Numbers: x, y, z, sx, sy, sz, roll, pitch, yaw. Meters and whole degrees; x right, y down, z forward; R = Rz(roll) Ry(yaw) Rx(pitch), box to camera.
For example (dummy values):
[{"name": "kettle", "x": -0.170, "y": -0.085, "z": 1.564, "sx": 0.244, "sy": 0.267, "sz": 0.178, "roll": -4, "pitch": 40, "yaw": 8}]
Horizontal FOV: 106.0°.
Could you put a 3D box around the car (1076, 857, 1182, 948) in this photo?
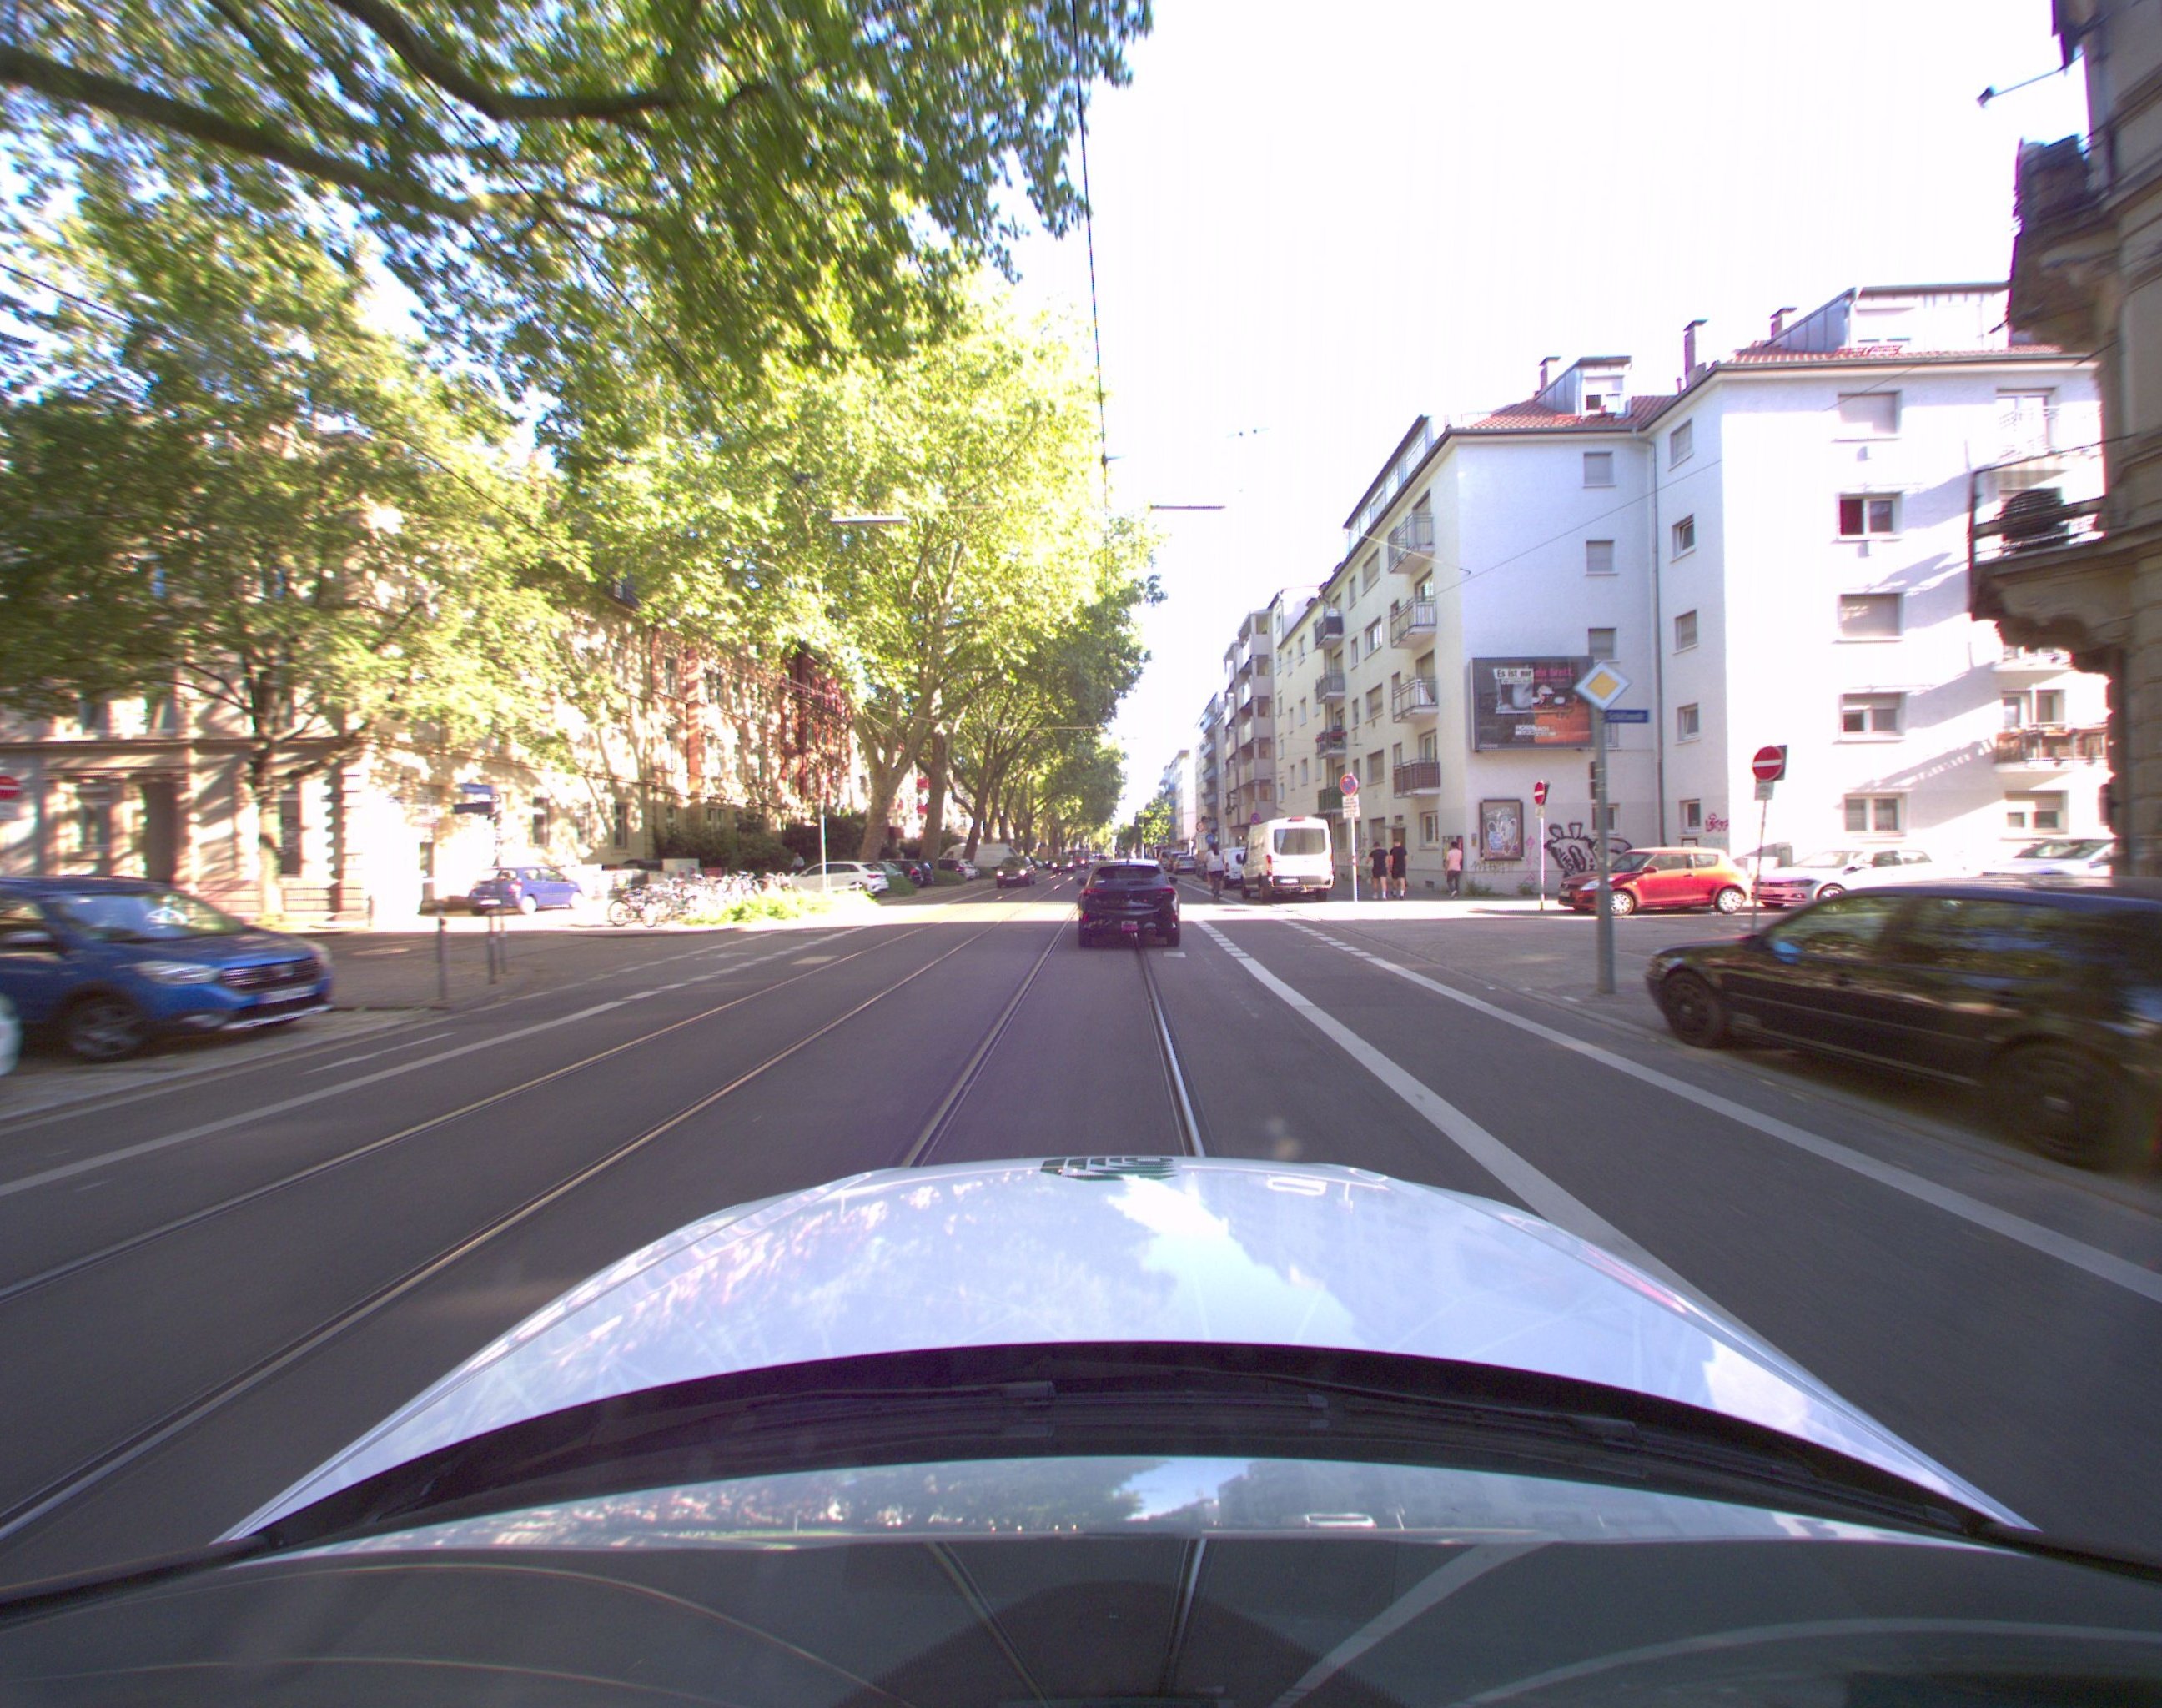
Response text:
[{"name": "car", "x": 0.823, "y": 0.779, "z": 14.736, "sx": 1.673, "sy": 1.422, "sz": 3.629, "roll": 0, "pitch": 0, "yaw": 2}]

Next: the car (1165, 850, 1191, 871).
[{"name": "car", "x": 8.130, "y": 0.515, "z": 68.512, "sx": 1.760, "sy": 1.705, "sz": 4.284, "roll": -1, "pitch": 0, "yaw": 1}]

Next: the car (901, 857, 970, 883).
[{"name": "car", "x": -8.686, "y": 0.947, "z": 48.787, "sx": 3.778, "sy": 1.460, "sz": 1.705, "roll": 0, "pitch": 0, "yaw": 2}]

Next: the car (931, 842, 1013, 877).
[{"name": "car", "x": -8.125, "y": 0.384, "z": 60.891, "sx": 5.718, "sy": 2.536, "sz": 2.164, "roll": -1, "pitch": 0, "yaw": 2}]

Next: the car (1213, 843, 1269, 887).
[{"name": "car", "x": 7.163, "y": 0.484, "z": 36.793, "sx": 1.851, "sy": 1.820, "sz": 4.354, "roll": -1, "pitch": 0, "yaw": 3}]

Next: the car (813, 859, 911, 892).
[{"name": "car", "x": -9.957, "y": 0.978, "z": 37.192, "sx": 3.969, "sy": 1.369, "sz": 1.607, "roll": -1, "pitch": 0, "yaw": 3}]

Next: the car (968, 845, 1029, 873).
[{"name": "car", "x": -7.629, "y": 0.486, "z": 75.565, "sx": 5.339, "sy": 2.477, "sz": 2.058, "roll": -1, "pitch": 0, "yaw": 2}]

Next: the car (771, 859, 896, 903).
[{"name": "car", "x": -9.085, "y": 0.983, "z": 30.066, "sx": 3.973, "sy": 1.460, "sz": 1.879, "roll": -2, "pitch": -1, "yaw": 1}]

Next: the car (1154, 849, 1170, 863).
[{"name": "car", "x": 10.181, "y": 0.285, "z": 102.000, "sx": 1.850, "sy": 1.651, "sz": 4.004, "roll": -1, "pitch": 0, "yaw": 4}]

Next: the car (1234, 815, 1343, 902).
[{"name": "car", "x": 6.576, "y": 0.153, "z": 26.619, "sx": 2.141, "sy": 2.495, "sz": 6.090, "roll": -1, "pitch": 0, "yaw": 2}]

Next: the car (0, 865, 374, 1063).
[{"name": "car", "x": -10.131, "y": 1.027, "z": 8.205, "sx": 4.307, "sy": 1.712, "sz": 1.816, "roll": -1, "pitch": 0, "yaw": -2}]

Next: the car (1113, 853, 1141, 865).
[{"name": "car", "x": 6.558, "y": 0.701, "z": 116.763, "sx": 3.972, "sy": 1.651, "sz": 1.865, "roll": -1, "pitch": 0, "yaw": 1}]

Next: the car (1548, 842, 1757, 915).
[{"name": "car", "x": 13.231, "y": 0.530, "z": 19.018, "sx": 3.637, "sy": 1.574, "sz": 1.791, "roll": -1, "pitch": 1, "yaw": 1}]

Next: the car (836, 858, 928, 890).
[{"name": "car", "x": -9.670, "y": 0.961, "z": 39.714, "sx": 3.969, "sy": 1.460, "sz": 1.772, "roll": -1, "pitch": 0, "yaw": 4}]

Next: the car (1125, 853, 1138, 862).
[{"name": "car", "x": 9.365, "y": 0.709, "z": 151.126, "sx": 1.988, "sy": 1.640, "sz": 3.997, "roll": -1, "pitch": 0, "yaw": -2}]

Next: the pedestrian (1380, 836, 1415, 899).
[{"name": "pedestrian", "x": 9.586, "y": 0.402, "z": 24.684, "sx": 0.622, "sy": 1.823, "sz": 1.083, "roll": -2, "pitch": -1, "yaw": 4}]

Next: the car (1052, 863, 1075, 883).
[{"name": "car", "x": -1.401, "y": 1.550, "z": 67.010, "sx": 1.712, "sy": 1.510, "sz": 3.723, "roll": -1, "pitch": 0, "yaw": 0}]

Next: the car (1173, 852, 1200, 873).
[{"name": "car", "x": 7.992, "y": 0.633, "z": 61.947, "sx": 1.717, "sy": 1.525, "sz": 4.517, "roll": -1, "pitch": 0, "yaw": 4}]

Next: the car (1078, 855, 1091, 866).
[{"name": "car", "x": 0.461, "y": 0.856, "z": 107.561, "sx": 1.712, "sy": 1.359, "sz": 4.470, "roll": -1, "pitch": 0, "yaw": 0}]

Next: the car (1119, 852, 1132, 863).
[{"name": "car", "x": 7.015, "y": 0.588, "z": 128.492, "sx": 1.850, "sy": 1.651, "sz": 4.004, "roll": -1, "pitch": 0, "yaw": 4}]

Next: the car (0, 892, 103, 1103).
[{"name": "car", "x": -9.816, "y": 1.105, "z": 5.675, "sx": 3.758, "sy": 1.518, "sz": 1.747, "roll": -1, "pitch": 0, "yaw": -2}]

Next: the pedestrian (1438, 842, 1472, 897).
[{"name": "pedestrian", "x": 11.102, "y": 0.450, "z": 24.175, "sx": 0.629, "sy": 1.580, "sz": 0.934, "roll": 1, "pitch": -1, "yaw": 4}]

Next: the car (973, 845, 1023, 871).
[{"name": "car", "x": -8.506, "y": 0.401, "z": 84.263, "sx": 4.929, "sy": 2.567, "sz": 2.081, "roll": -1, "pitch": 0, "yaw": -2}]

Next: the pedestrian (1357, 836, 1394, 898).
[{"name": "pedestrian", "x": 8.914, "y": 0.398, "z": 24.713, "sx": 0.706, "sy": 1.823, "sz": 1.083, "roll": -2, "pitch": -1, "yaw": 4}]

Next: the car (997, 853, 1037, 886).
[{"name": "car", "x": -3.170, "y": 0.743, "z": 41.046, "sx": 1.629, "sy": 1.510, "sz": 3.691, "roll": -1, "pitch": 0, "yaw": 0}]

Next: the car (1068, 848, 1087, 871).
[{"name": "car", "x": -0.333, "y": 0.552, "z": 84.556, "sx": 1.911, "sy": 2.227, "sz": 4.960, "roll": -1, "pitch": 0, "yaw": 0}]

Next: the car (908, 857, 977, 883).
[{"name": "car", "x": -8.686, "y": 0.994, "z": 51.369, "sx": 3.971, "sy": 1.496, "sz": 1.831, "roll": -1, "pitch": 0, "yaw": 2}]

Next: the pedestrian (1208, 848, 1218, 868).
[{"name": "pedestrian", "x": 11.717, "y": 0.342, "z": 72.086, "sx": 0.753, "sy": 1.720, "sz": 0.720, "roll": -1, "pitch": 0, "yaw": 0}]

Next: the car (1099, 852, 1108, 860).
[{"name": "car", "x": 4.965, "y": 0.415, "z": 181.073, "sx": 1.742, "sy": 1.651, "sz": 4.004, "roll": -1, "pitch": 0, "yaw": 4}]

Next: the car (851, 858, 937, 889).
[{"name": "car", "x": -9.640, "y": 0.989, "z": 42.156, "sx": 3.969, "sy": 1.460, "sz": 1.706, "roll": -1, "pitch": 0, "yaw": 4}]

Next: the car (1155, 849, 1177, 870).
[{"name": "car", "x": 8.012, "y": 0.489, "z": 77.194, "sx": 1.850, "sy": 1.890, "sz": 4.929, "roll": -1, "pitch": 0, "yaw": 4}]

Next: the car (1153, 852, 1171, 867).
[{"name": "car", "x": 9.335, "y": 0.570, "z": 94.189, "sx": 1.850, "sy": 1.651, "sz": 4.004, "roll": -1, "pitch": 0, "yaw": 4}]
